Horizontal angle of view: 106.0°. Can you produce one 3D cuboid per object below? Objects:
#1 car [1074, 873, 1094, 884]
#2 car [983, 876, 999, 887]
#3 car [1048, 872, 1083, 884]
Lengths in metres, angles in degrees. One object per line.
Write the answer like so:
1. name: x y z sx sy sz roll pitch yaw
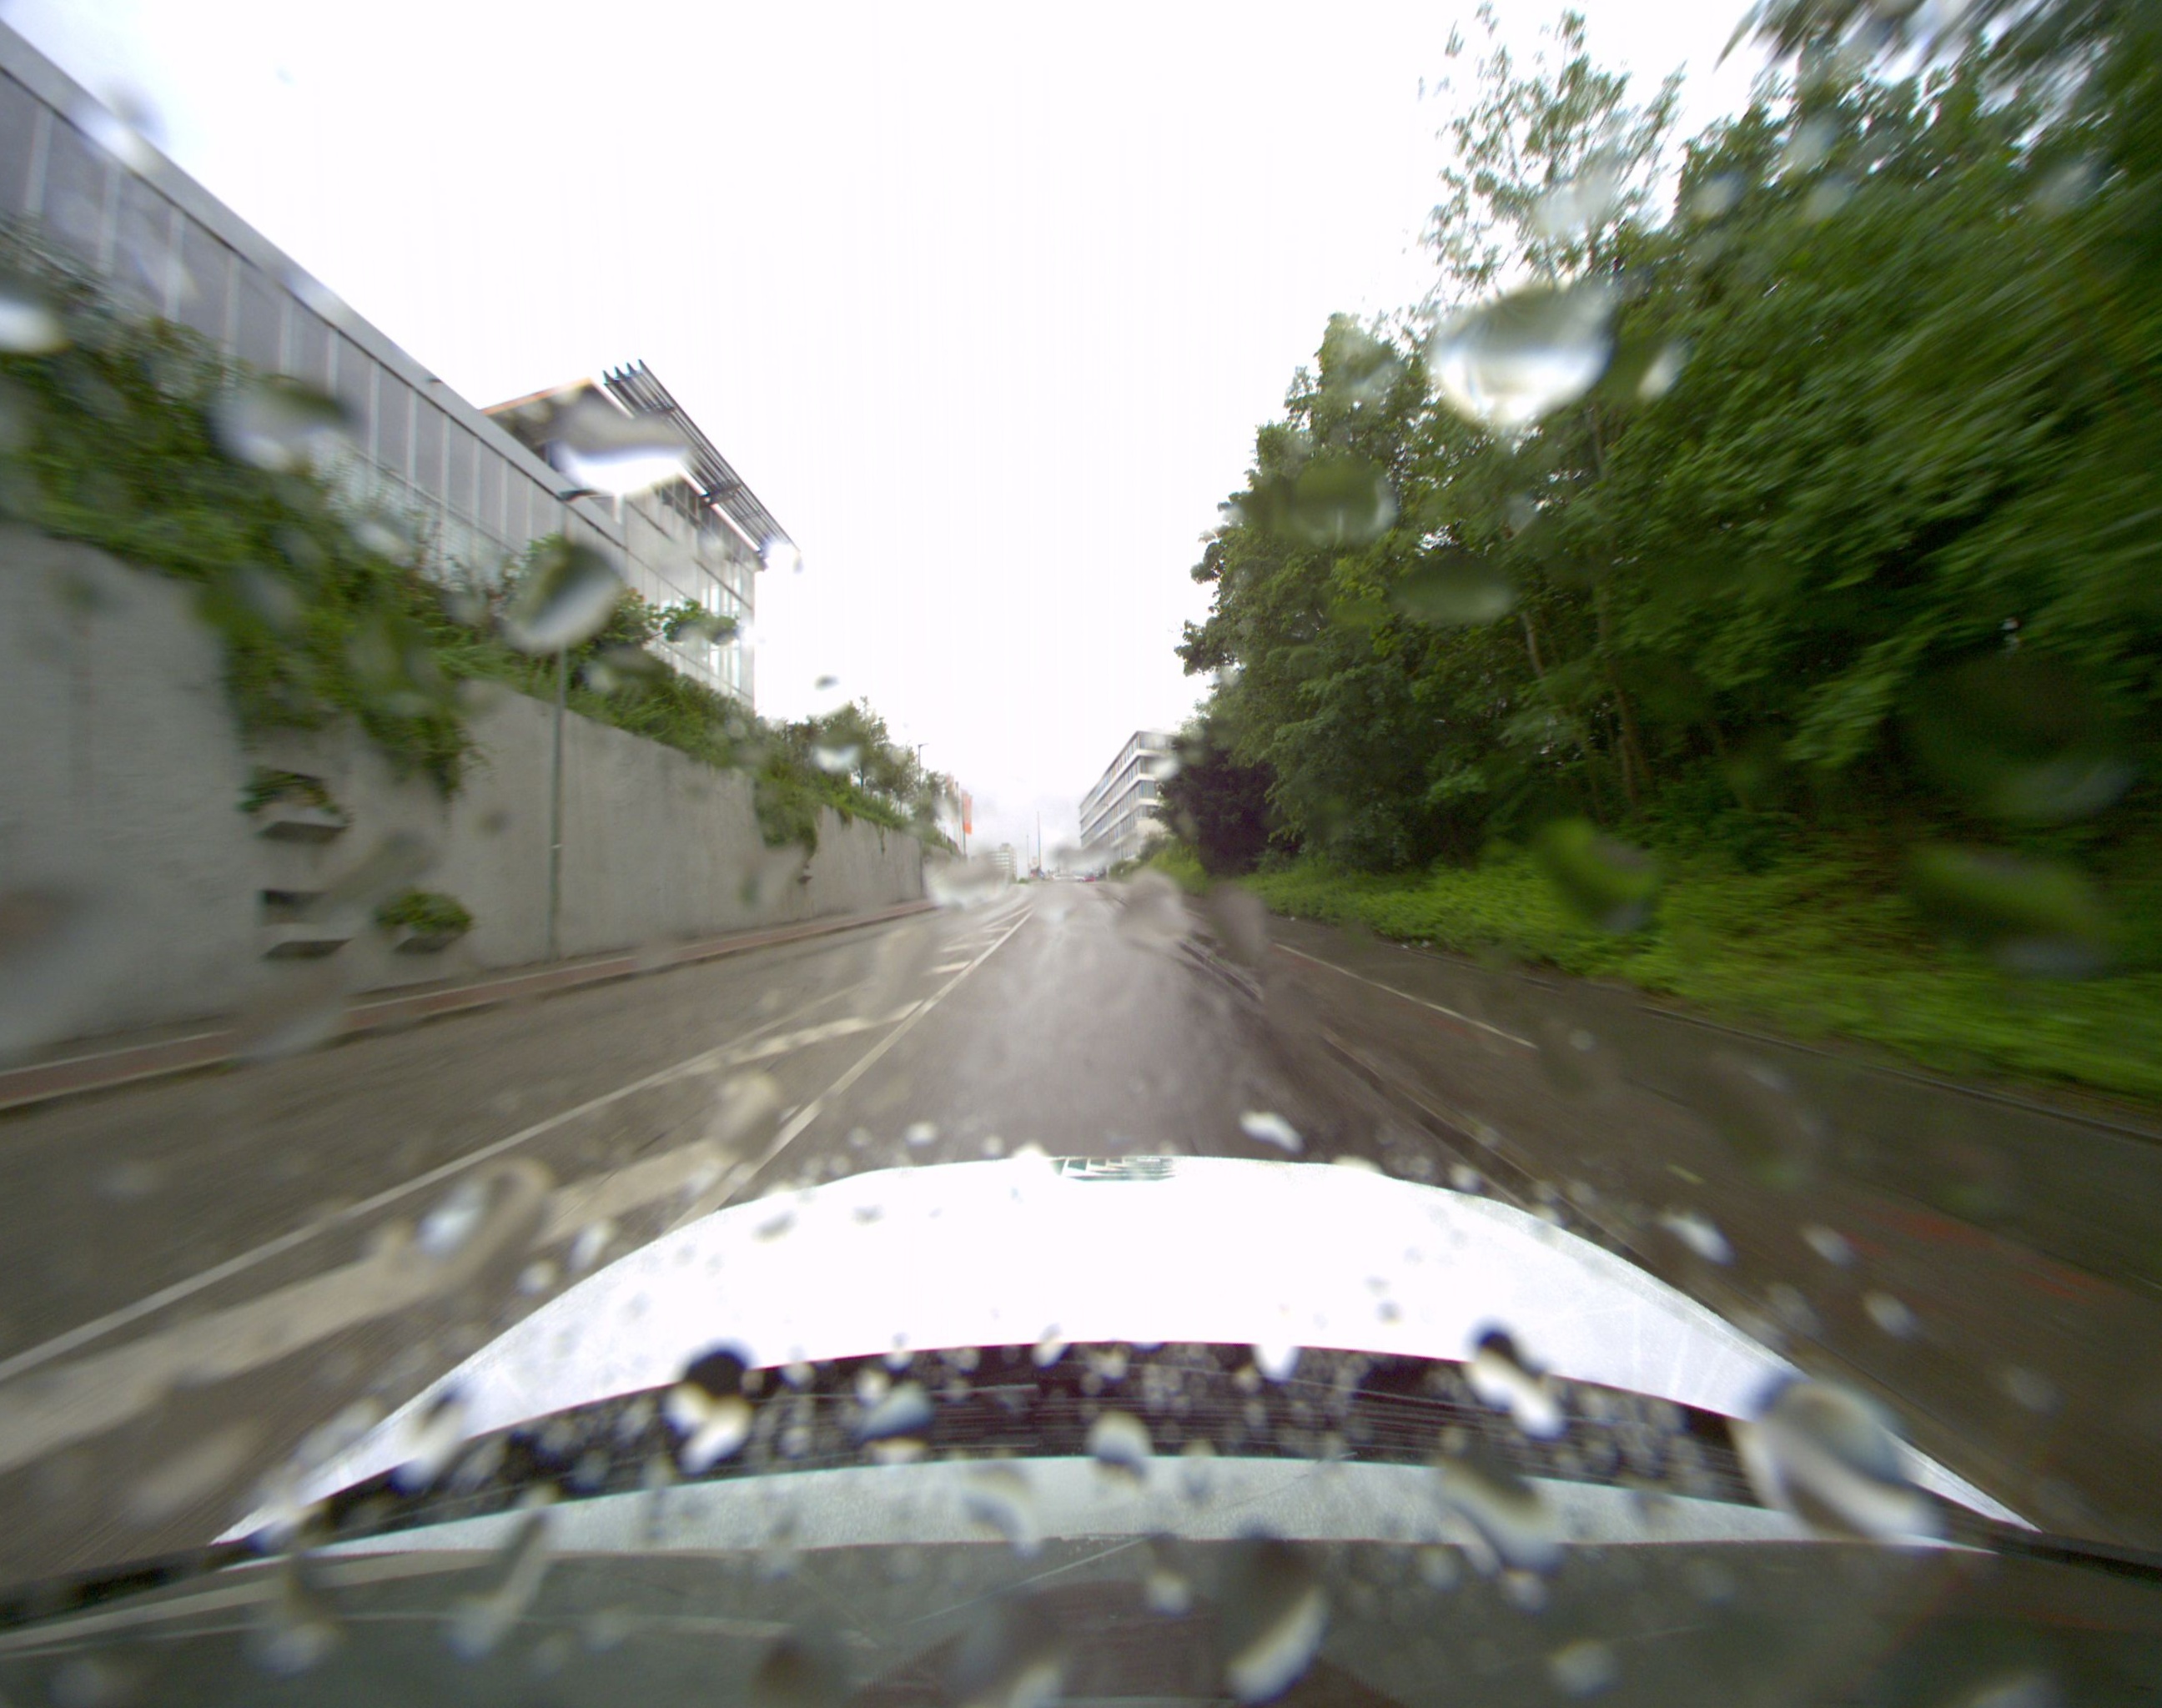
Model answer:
1. car: 0.427 3.520 115.920 1.796 1.409 4.196 -3 -1 -13
2. car: -12.750 3.915 115.475 1.997 1.427 4.773 -1 -2 -4
3. car: -2.010 3.011 103.225 4.236 1.362 1.639 -1 -1 -11
